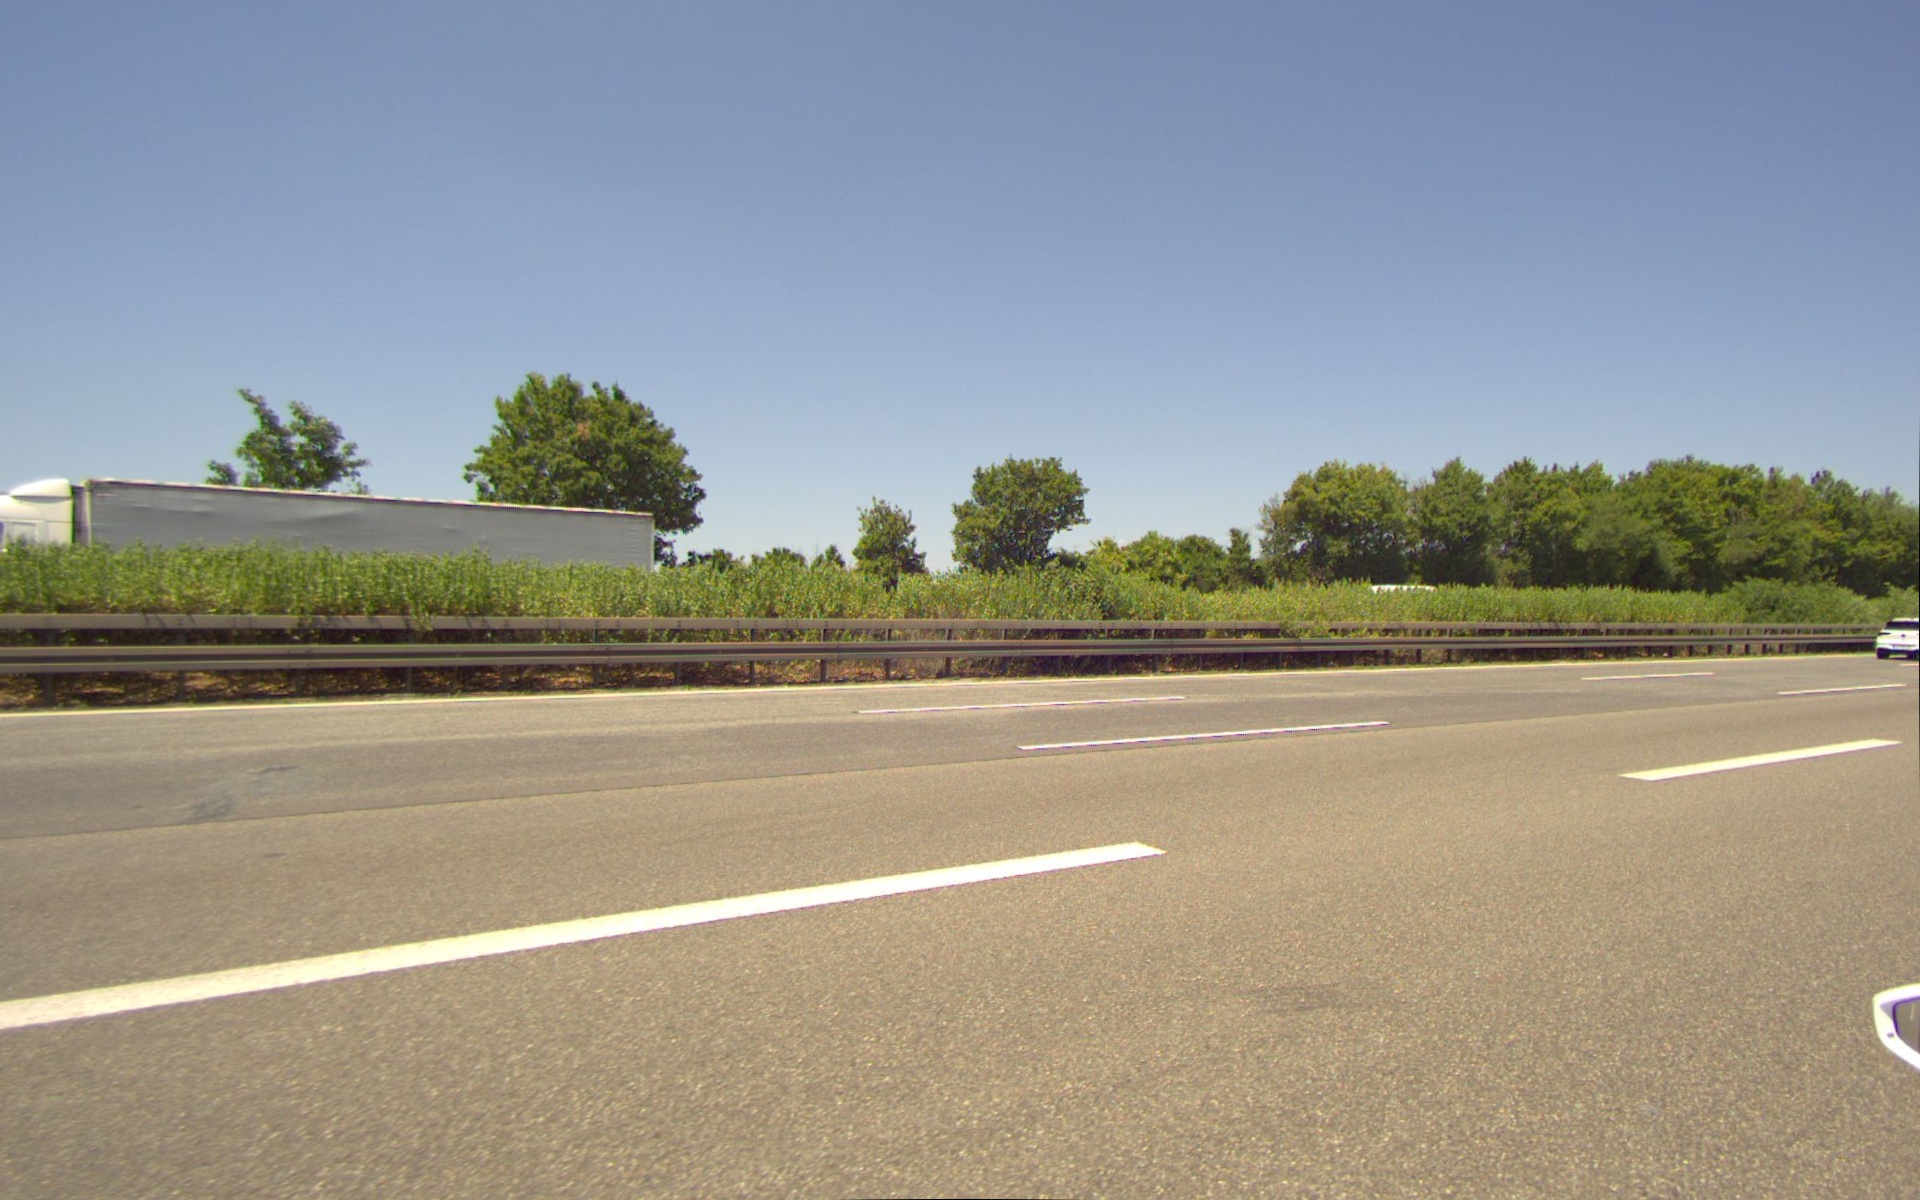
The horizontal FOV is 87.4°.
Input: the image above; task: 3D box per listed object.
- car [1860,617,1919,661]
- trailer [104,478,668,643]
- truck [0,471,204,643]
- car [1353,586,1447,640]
[{"bbox_3d":[33.719,1.335,35.295,4.613,1.460,1.774,1,0,-30],"label":"car"},{"bbox_3d":[-15.604,-0.861,28.996,13.564,4.000,2.525,1,0,-31],"label":"trailer"},{"bbox_3d":[-22.210,-0.986,24.972,5.106,4.000,2.525,1,0,-31],"label":"truck"},{"bbox_3d":[19.877,0.580,45.400,3.937,2.335,1.958,1,0,-31],"label":"car"}]
